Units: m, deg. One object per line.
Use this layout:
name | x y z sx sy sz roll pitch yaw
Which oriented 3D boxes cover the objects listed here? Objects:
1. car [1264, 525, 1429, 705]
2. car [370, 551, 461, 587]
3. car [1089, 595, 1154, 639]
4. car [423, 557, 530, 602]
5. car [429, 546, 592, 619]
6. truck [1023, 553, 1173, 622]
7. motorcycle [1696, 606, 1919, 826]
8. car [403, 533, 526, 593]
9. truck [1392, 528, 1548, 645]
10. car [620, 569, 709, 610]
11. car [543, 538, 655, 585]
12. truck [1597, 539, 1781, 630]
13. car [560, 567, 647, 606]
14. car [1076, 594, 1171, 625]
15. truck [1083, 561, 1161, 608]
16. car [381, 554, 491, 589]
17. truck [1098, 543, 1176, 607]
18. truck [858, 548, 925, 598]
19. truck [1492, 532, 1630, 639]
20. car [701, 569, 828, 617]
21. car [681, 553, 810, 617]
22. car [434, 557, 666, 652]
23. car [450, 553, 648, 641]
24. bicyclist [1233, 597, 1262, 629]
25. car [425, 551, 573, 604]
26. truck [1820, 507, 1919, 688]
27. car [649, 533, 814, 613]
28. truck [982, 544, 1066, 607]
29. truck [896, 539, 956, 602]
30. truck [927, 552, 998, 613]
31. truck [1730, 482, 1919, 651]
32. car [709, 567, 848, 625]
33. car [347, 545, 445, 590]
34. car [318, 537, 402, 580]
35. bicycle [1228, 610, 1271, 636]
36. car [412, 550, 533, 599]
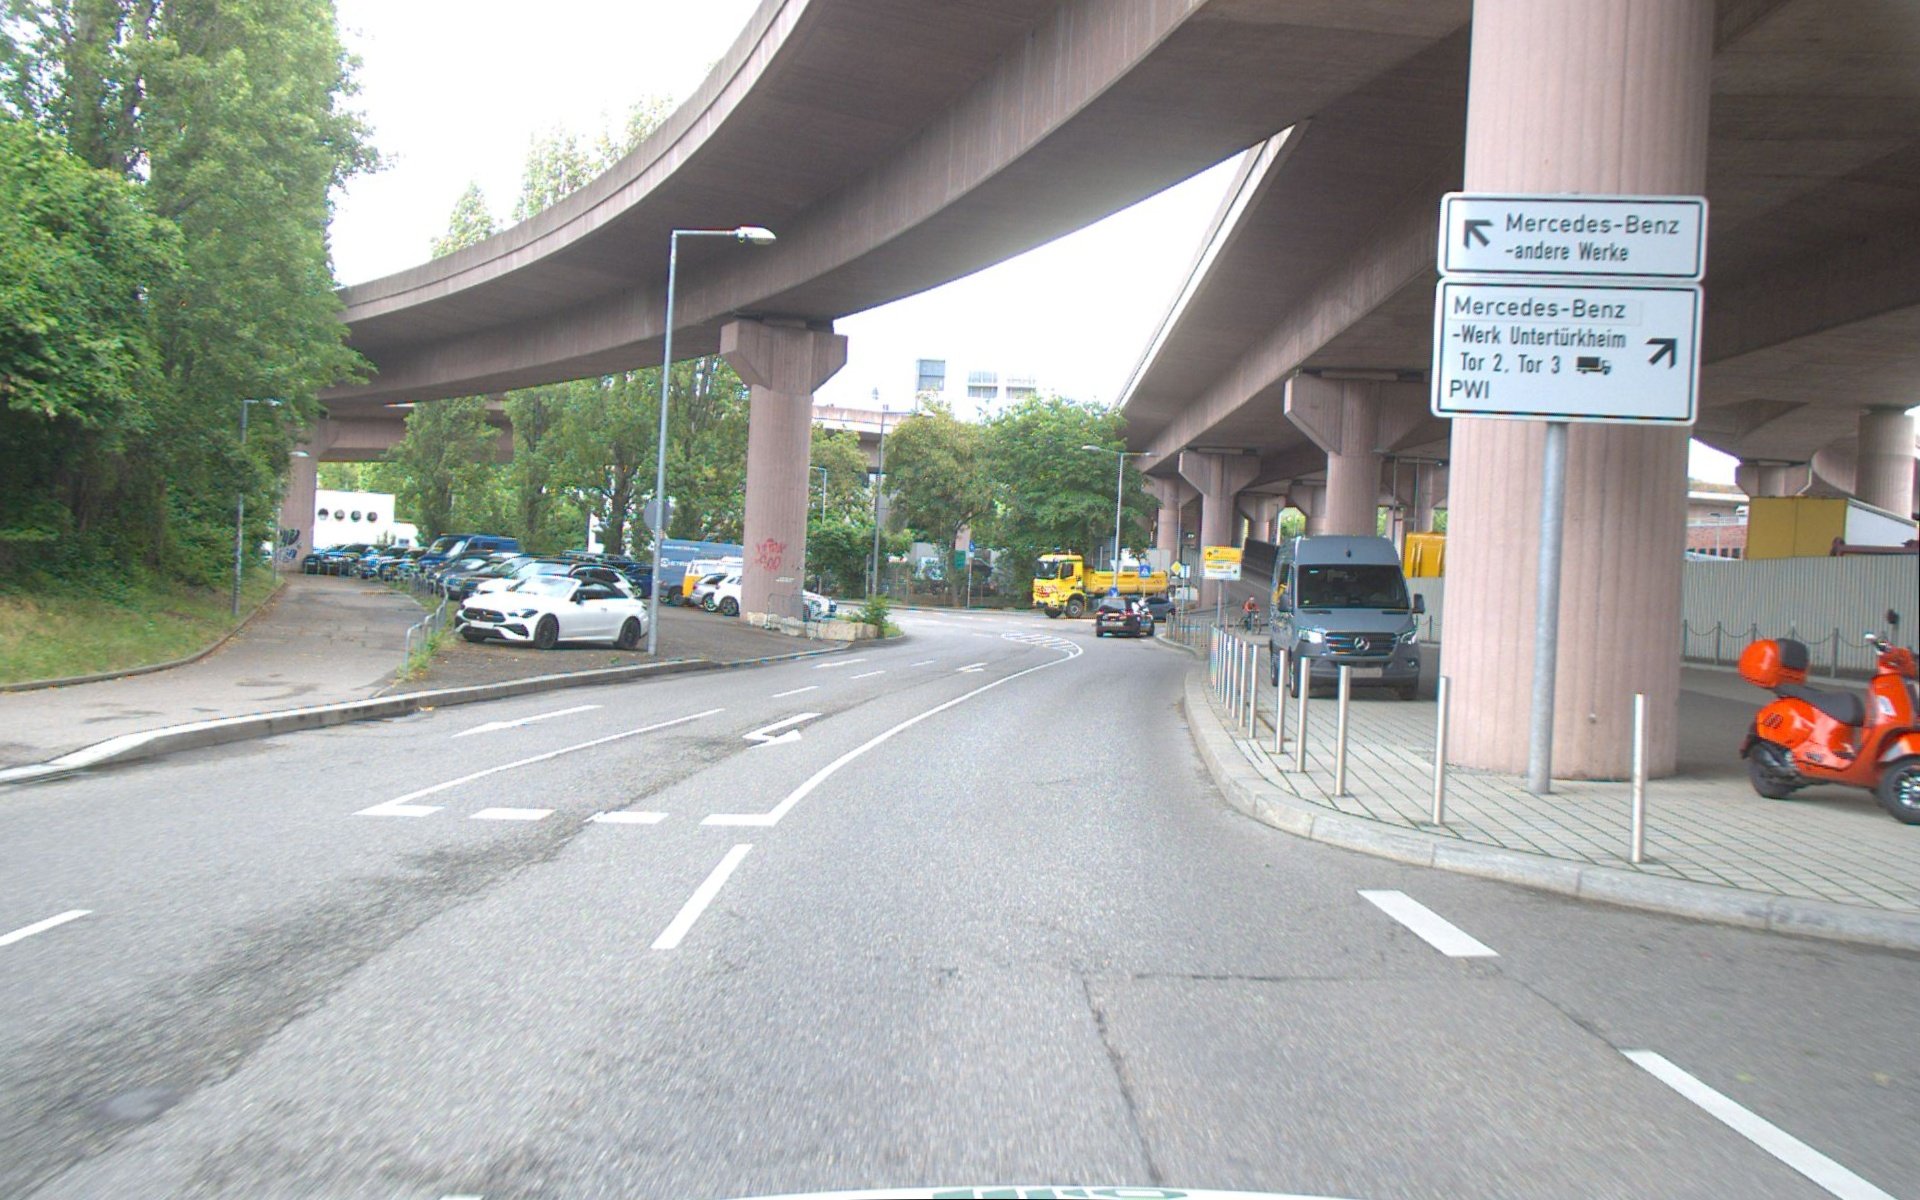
car | 6.367 0.195 27.891 1.951 2.658 6.079 1 1 6
car | -24.835 -1.395 75.558 1.752 1.500 3.885 2 0 24
car | 7.001 0.697 71.153 1.952 1.708 4.563 3 1 15
car | -16.488 -0.675 56.603 1.610 1.466 3.736 1 1 20
car | -11.763 -0.421 43.585 1.820 1.720 4.160 3 0 25
truck | 7.747 -0.680 92.405 8.138 3.540 2.906 0 5 -32
motorcycle | 6.430 0.777 12.031 0.782 1.390 2.121 1 1 -15
car | -20.134 -1.481 67.389 2.074 2.294 5.017 1 0 23
truck | 23.394 -0.556 75.532 3.095 5.003 8.657 3 0 44
car | -13.463 -0.464 75.469 3.914 1.770 2.017 1 0 -10
car | -18.101 -1.927 83.033 4.982 2.108 2.261 2 -1 6
truck | 26.101 -0.550 58.982 3.095 2.995 8.655 -2 0 45
car | -16.785 -0.637 78.048 3.914 1.760 1.996 1 0 -10
car | 8.684 0.507 87.598 4.879 1.528 2.145 1 1 -37
truck | 11.160 -1.120 114.658 2.871 2.949 6.524 1 2 -19
car | -22.956 -1.239 72.674 1.954 1.460 4.641 1 0 26
truck | 12.951 -1.872 121.651 3.014 4.374 8.020 1 2 -14
truck | -5.547 -2.204 132.904 3.011 3.681 7.869 1 3 -21
truck | 30.073 -0.672 82.526 3.095 4.988 8.657 3 0 44
car | -7.180 -0.249 60.930 4.155 1.394 2.002 5 1 12
car | -8.226 -0.565 63.621 4.459 2.147 1.852 4 1 10
car | -8.130 0.145 33.299 1.954 1.505 4.827 6 0 22
car | -9.177 -0.017 37.320 1.955 1.609 4.398 7 1 23
bicyclist | 13.108 0.605 75.423 0.787 1.430 1.056 1 0 -29
car | -14.931 -0.716 53.798 1.821 1.513 4.885 5 2 25
truck | 25.567 -0.030 43.183 2.849 4.256 9.997 1 0 44
car | -9.113 -1.093 66.313 6.046 2.772 2.369 4 1 4
truck | 4.243 -1.749 112.135 3.019 3.934 8.007 1 2 -19
truck | -2.854 -2.497 136.517 3.148 4.862 8.021 1 2 -14
truck | 0.109 -1.240 116.886 3.017 4.032 6.890 3 0 -17
truck | 25.956 -0.879 48.838 3.093 4.520 9.665 1 0 42
car | -6.331 -0.146 57.851 4.289 1.633 1.956 5 1 15
car | -26.479 -1.546 77.818 1.804 1.831 4.300 1 5 26
car | -29.954 -2.054 82.666 1.619 1.741 4.083 5 -1 20
bicycle | 13.177 1.035 75.287 0.793 1.117 2.111 1 0 -28
car | -17.634 -0.897 60.051 1.859 1.705 4.149 1 1 27
